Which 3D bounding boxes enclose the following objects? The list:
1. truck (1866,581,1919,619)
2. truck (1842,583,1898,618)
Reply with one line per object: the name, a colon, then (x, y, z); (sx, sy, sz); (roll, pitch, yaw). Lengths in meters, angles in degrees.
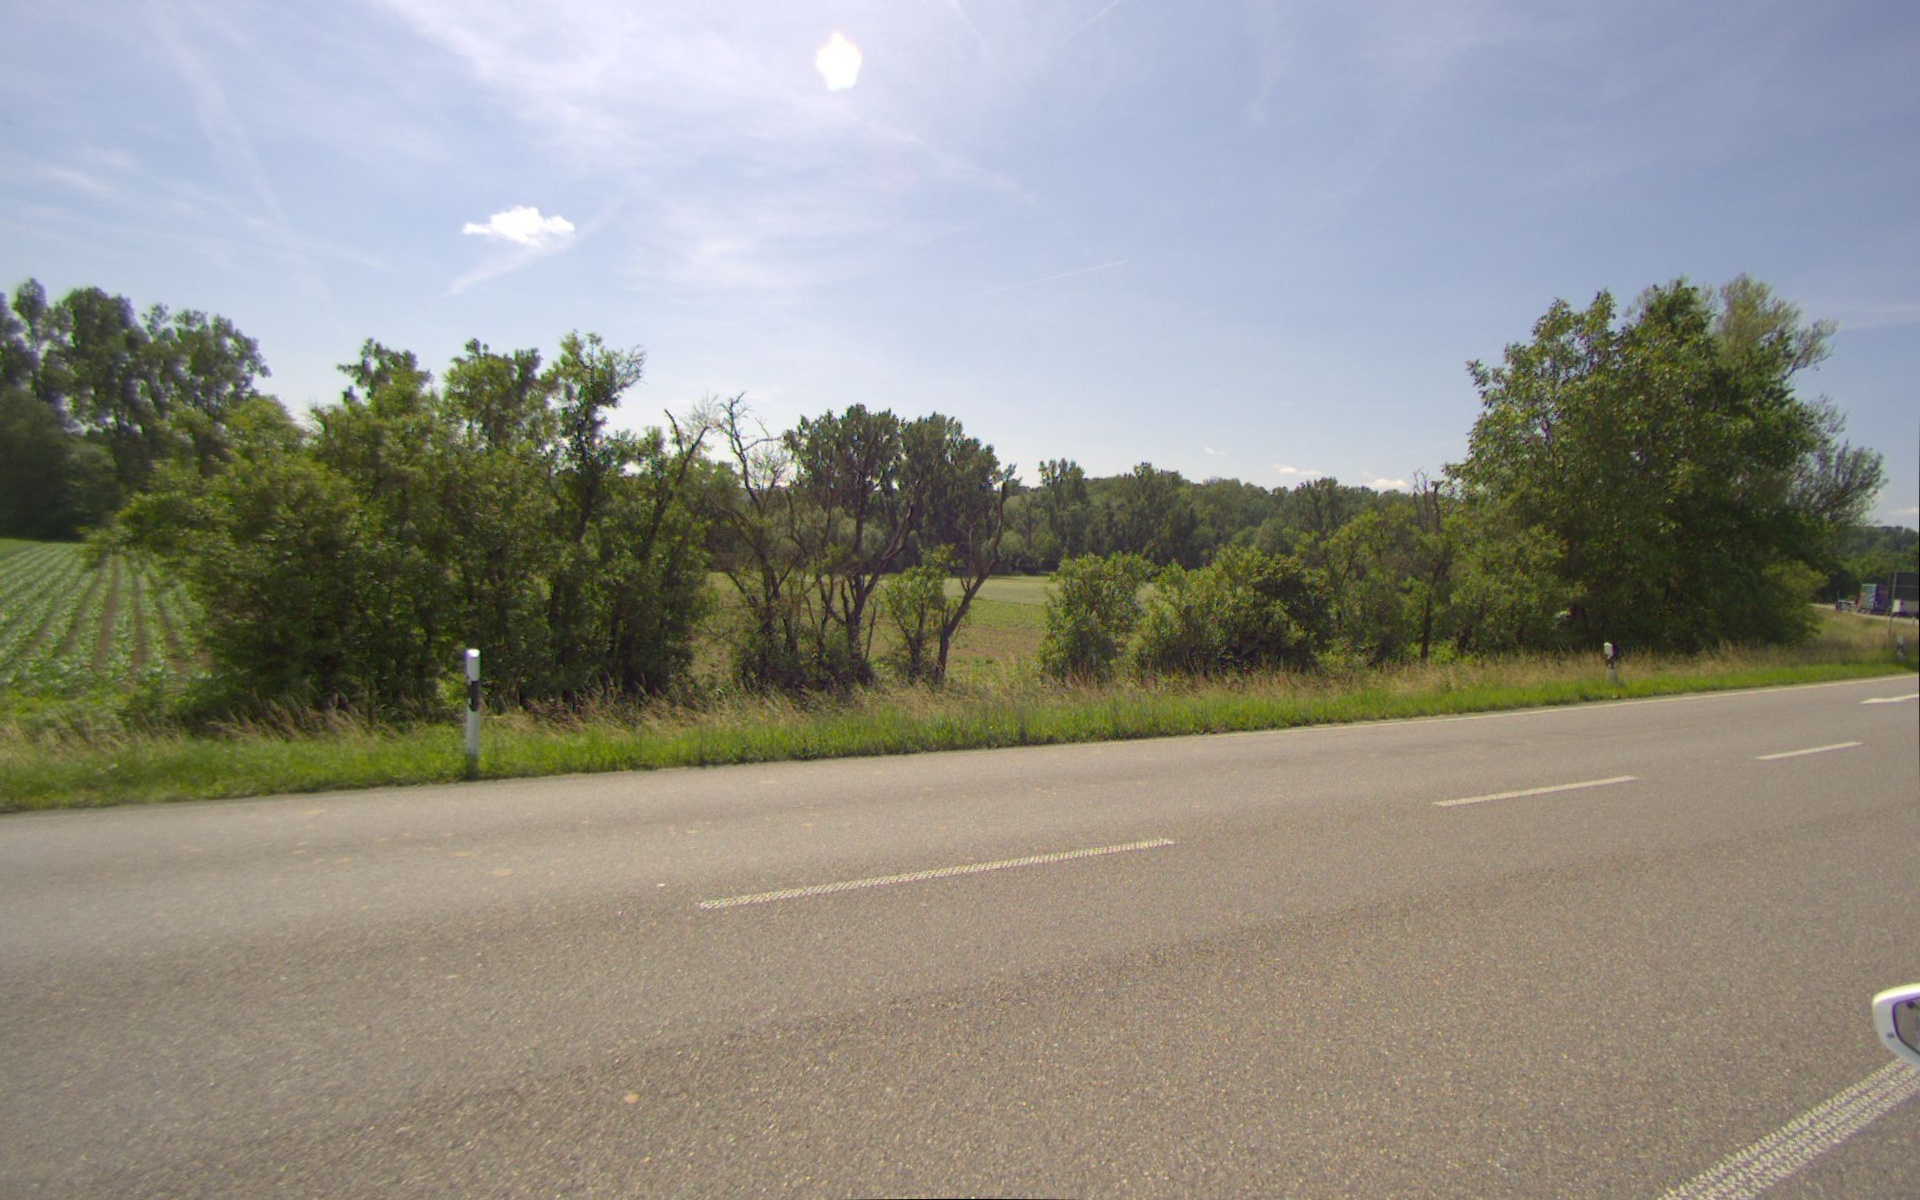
truck: (116.666, 0.097, 125.592); (3.591, 4.184, 13.047); (5, 1, 37)
truck: (126.062, 0.100, 139.369); (3.481, 4.297, 13.367); (5, 1, 34)
